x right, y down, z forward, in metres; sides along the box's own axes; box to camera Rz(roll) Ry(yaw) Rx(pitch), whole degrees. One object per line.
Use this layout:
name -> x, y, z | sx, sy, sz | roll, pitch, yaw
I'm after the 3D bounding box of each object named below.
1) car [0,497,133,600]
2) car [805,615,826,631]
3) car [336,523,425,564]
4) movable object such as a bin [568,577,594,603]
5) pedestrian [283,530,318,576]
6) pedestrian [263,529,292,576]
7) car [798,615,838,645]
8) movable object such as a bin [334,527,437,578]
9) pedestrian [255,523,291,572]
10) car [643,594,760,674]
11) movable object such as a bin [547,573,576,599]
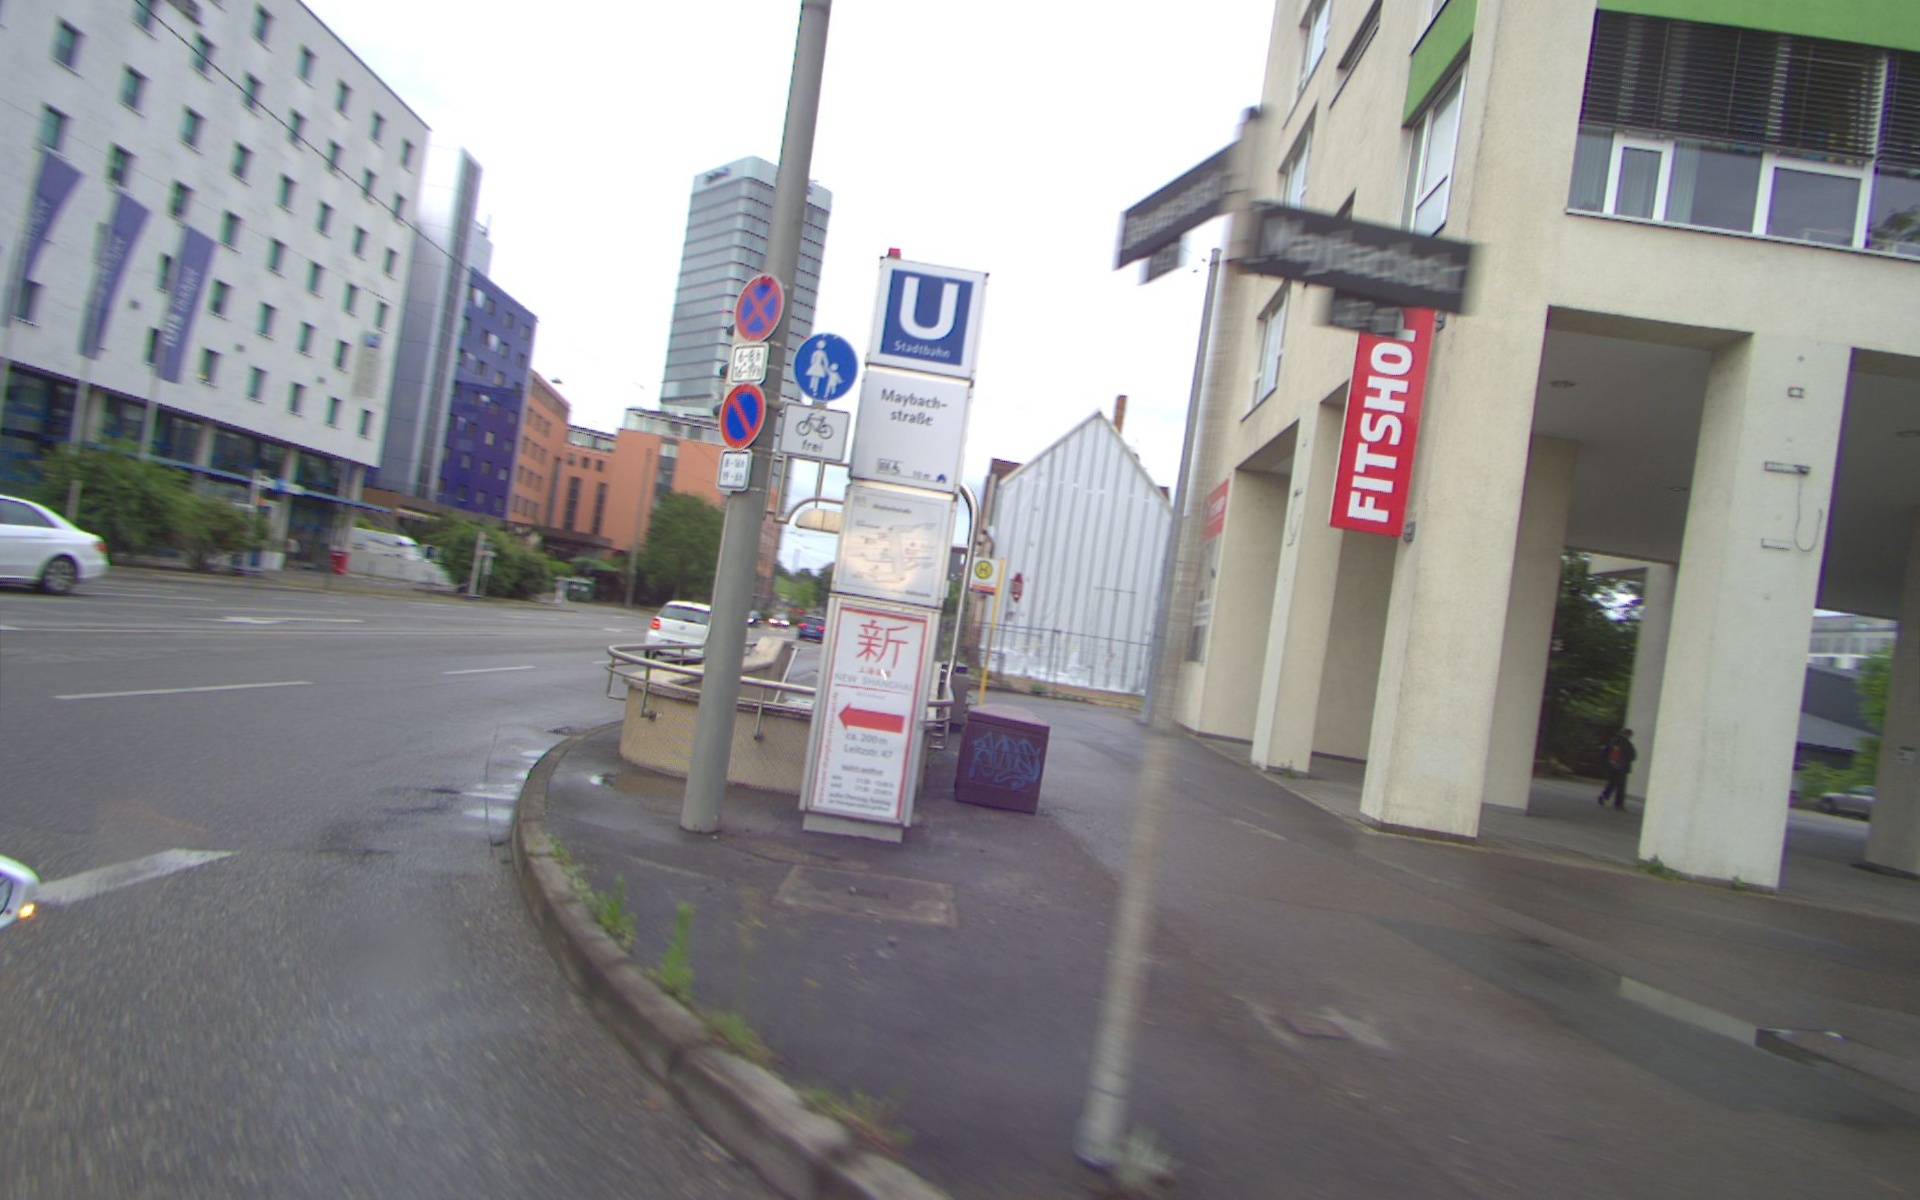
car -> -14.767, -0.922, 14.350 | 1.790, 1.402, 4.965 | 8, -2, -2
car -> -16.540, 2.647, 115.128 | 1.729, 1.574, 4.449 | 6, -1, -2
car -> -38.883, -3.780, 67.608 | 4.641, 2.035, 1.895 | 6, -3, -1
movable object such as a bin -> -25.328, -0.664, 67.251 | 1.371, 1.507, 0.951 | 7, -3, -11
pedestrian -> -31.524, -2.260, 48.101 | 0.801, 2.035, 0.901 | 5, -3, 28
pedestrian -> -31.855, -2.215, 46.973 | 0.806, 2.035, 0.799 | 8, -3, -29
car -> -9.139, 1.950, 65.132 | 1.964, 1.591, 4.002 | 9, -2, -2
movable object such as a bin -> -39.791, -3.260, 69.762 | 5.540, 2.656, 2.164 | 6, -3, -1
pedestrian -> -31.252, -2.392, 45.761 | 0.790, 2.035, 0.816 | 6, -3, 0
car -> -5.976, 0.819, 23.679 | 1.646, 1.490, 3.782 | 9, -2, -1
movable object such as a bin -> -26.827, -0.960, 67.710 | 1.368, 1.507, 0.953 | 6, -3, 10
